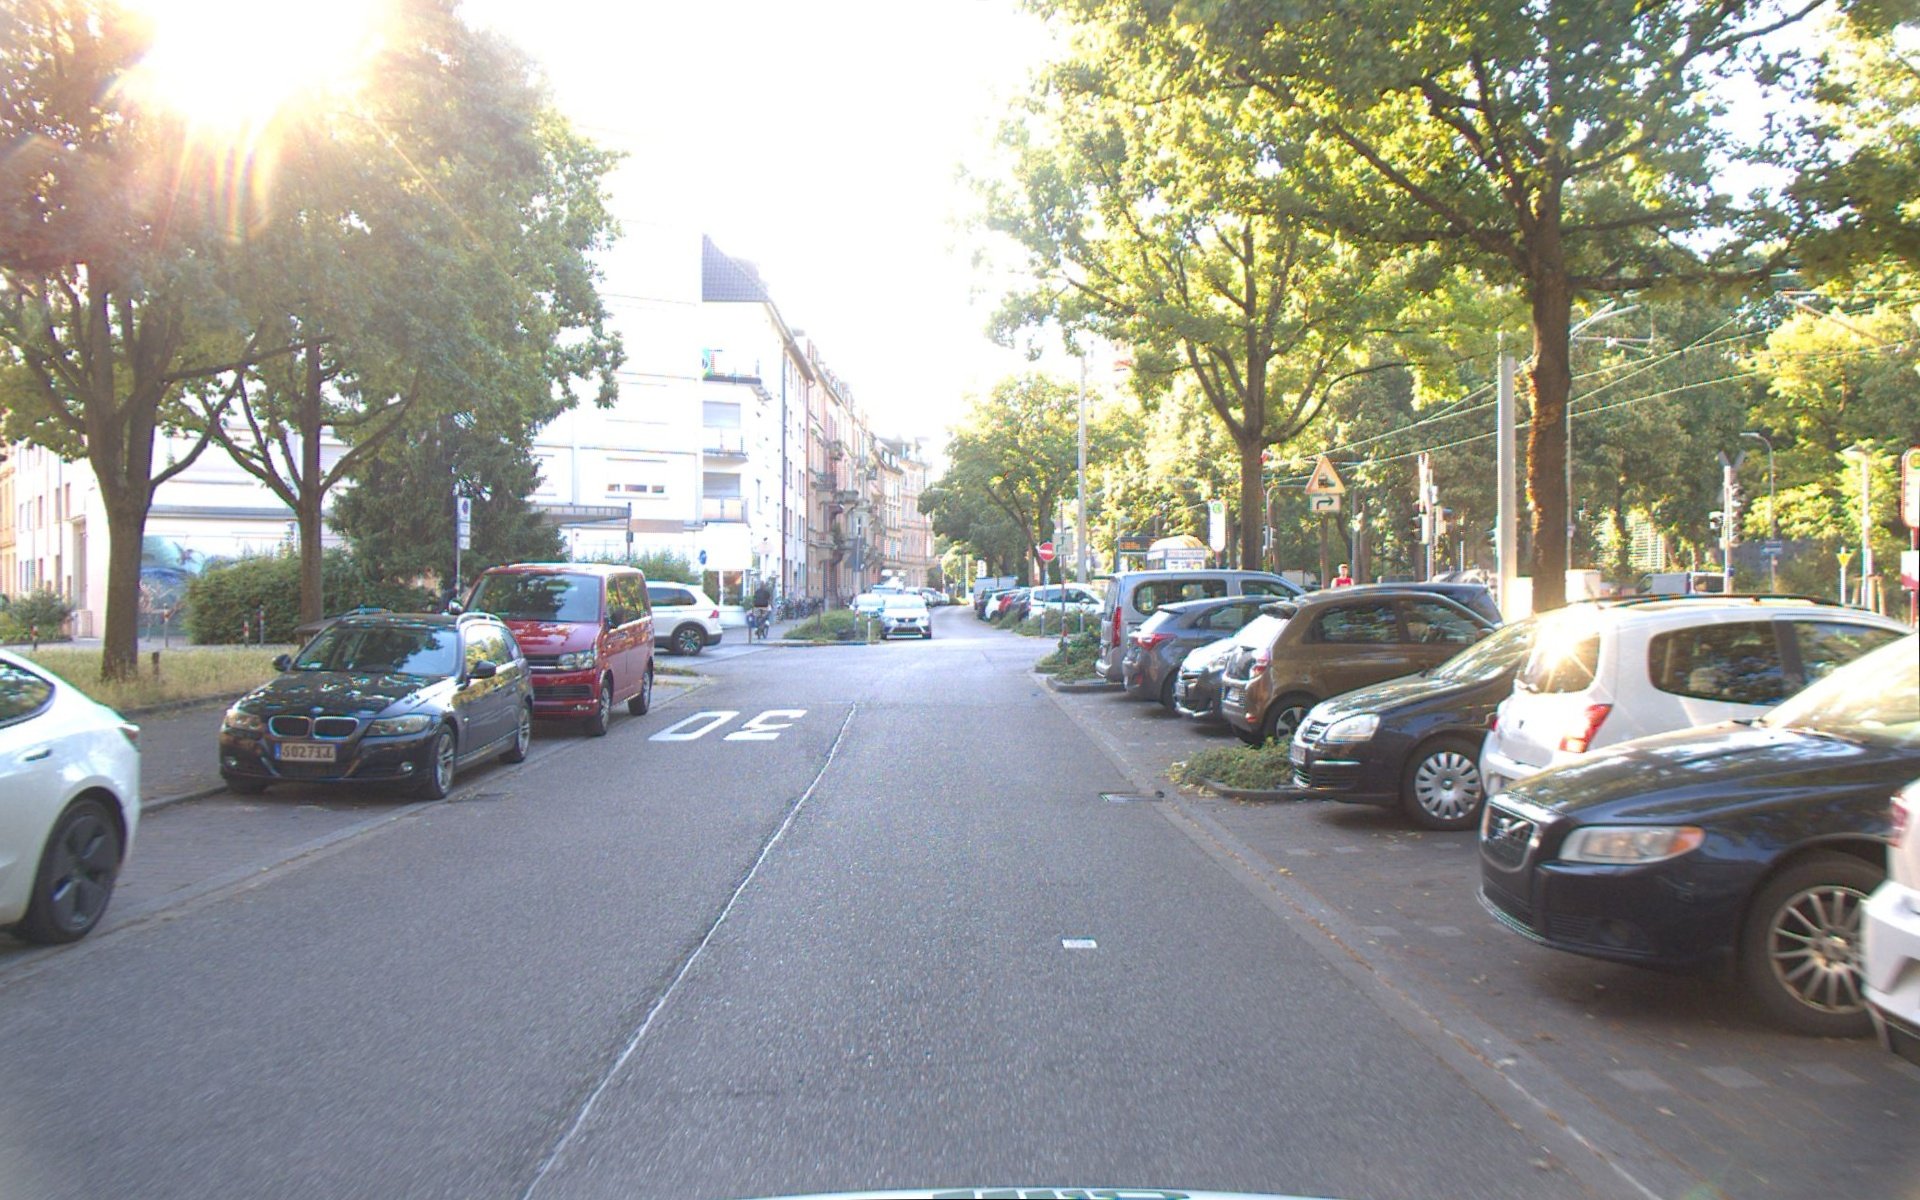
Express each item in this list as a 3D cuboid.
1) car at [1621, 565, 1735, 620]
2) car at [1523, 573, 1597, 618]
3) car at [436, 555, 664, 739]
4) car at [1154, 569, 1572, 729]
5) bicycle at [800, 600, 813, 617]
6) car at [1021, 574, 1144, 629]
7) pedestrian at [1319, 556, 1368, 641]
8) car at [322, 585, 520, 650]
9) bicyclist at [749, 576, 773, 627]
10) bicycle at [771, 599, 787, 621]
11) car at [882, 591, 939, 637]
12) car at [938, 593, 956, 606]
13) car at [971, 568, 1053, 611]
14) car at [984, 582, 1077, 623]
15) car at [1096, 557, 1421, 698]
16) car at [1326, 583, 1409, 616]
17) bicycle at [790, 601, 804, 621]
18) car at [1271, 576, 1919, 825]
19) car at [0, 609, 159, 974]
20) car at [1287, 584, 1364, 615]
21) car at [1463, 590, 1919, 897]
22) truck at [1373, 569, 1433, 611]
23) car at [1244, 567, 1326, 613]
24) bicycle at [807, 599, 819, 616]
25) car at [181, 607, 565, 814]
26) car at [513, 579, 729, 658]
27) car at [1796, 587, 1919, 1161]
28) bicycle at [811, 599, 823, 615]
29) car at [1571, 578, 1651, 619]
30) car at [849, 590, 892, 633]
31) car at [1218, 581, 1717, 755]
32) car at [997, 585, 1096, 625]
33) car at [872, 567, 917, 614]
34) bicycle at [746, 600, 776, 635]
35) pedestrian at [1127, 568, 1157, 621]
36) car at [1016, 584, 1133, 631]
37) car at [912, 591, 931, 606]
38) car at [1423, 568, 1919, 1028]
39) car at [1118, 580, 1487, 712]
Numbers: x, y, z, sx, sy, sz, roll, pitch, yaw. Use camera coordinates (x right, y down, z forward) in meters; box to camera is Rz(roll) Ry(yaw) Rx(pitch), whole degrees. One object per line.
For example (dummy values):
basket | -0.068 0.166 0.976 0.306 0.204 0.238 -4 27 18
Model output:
car | 27.989 -0.285 64.631 1.908 2.038 4.650 -1 0 -9
car | 26.815 -0.210 74.004 1.541 1.937 3.897 -1 0 -6
car | -4.911 0.492 20.479 1.740 1.967 4.771 1 0 -2
car | 4.626 0.546 19.362 4.350 1.721 1.947 -1 -1 -7
bicycle | -9.501 0.495 102.530 0.614 1.021 2.175 0 0 -1
car | 4.489 0.061 60.905 4.149 1.681 1.605 -5 0 30
pedestrian | 9.021 -0.044 38.959 0.884 1.952 1.150 -1 0 0
car | -13.231 0.420 40.735 4.193 1.476 1.924 -1 1 2
bicyclist | -6.481 0.044 53.922 0.697 1.645 0.723 -1 0 0
bicycle | -8.596 0.483 78.646 0.520 1.021 2.176 0 0 0
car | -1.723 0.453 56.264 1.677 1.471 3.996 -2 1 -5
car | -1.582 -0.038 201.781 1.674 1.471 4.003 -2 1 7
car | 3.674 -0.731 117.143 5.151 2.616 2.271 -5 0 28
car | 3.448 0.123 81.333 4.156 1.680 1.852 -5 0 36
car | 4.296 0.399 24.343 4.444 1.948 1.950 -1 -1 1
car | 19.774 -0.002 80.158 3.737 1.415 1.738 2 -1 19
bicycle | -8.785 0.577 89.206 0.614 1.021 2.175 0 0 -1
car | 4.722 0.671 11.914 4.603 1.600 2.000 -1 -1 1
car | -4.917 0.808 6.089 1.739 1.501 4.271 1 0 1
car | 19.136 -0.030 86.525 3.737 1.446 1.738 2 -1 19
car | 4.764 0.733 9.367 3.328 1.541 1.719 -1 1 1
truck | 26.027 -0.581 97.294 2.318 2.393 4.383 -1 0 0
car | 19.342 -0.614 98.534 4.403 2.519 1.815 2 -1 30
bicycle | -9.331 0.479 104.994 0.614 1.021 2.175 0 0 -1
car | -4.929 0.841 14.578 1.739 1.458 4.271 1 0 1
car | -7.725 0.392 37.784 4.470 1.676 1.923 -1 0 -30
car | 4.441 0.675 4.071 3.906 1.486 1.684 -1 0 -1
bicycle | -9.365 0.472 108.200 0.614 1.021 2.175 0 0 -1
car | 27.302 -0.075 69.448 1.541 1.666 3.706 -1 0 -7
car | -3.744 0.454 69.273 1.676 1.702 3.998 -2 1 -3
car | 4.969 0.659 16.708 4.444 1.600 1.950 -1 -1 1
car | 3.957 0.217 75.767 4.143 1.484 1.607 -5 0 24
car | -4.335 -0.644 110.478 2.499 2.937 5.483 -2 0 2
bicycle | -6.475 0.562 53.954 0.697 1.069 2.347 -1 0 0
pedestrian | 6.812 -0.204 61.900 0.833 1.944 0.836 -1 0 32
car | 4.456 0.295 64.419 4.109 1.461 1.700 -5 0 24
car | -4.001 -0.138 172.913 1.675 1.471 4.001 -2 1 2
car | 4.474 0.685 6.777 4.603 1.600 2.000 -1 -1 1
car | 4.378 0.587 21.666 4.444 1.600 1.950 -1 -1 1
